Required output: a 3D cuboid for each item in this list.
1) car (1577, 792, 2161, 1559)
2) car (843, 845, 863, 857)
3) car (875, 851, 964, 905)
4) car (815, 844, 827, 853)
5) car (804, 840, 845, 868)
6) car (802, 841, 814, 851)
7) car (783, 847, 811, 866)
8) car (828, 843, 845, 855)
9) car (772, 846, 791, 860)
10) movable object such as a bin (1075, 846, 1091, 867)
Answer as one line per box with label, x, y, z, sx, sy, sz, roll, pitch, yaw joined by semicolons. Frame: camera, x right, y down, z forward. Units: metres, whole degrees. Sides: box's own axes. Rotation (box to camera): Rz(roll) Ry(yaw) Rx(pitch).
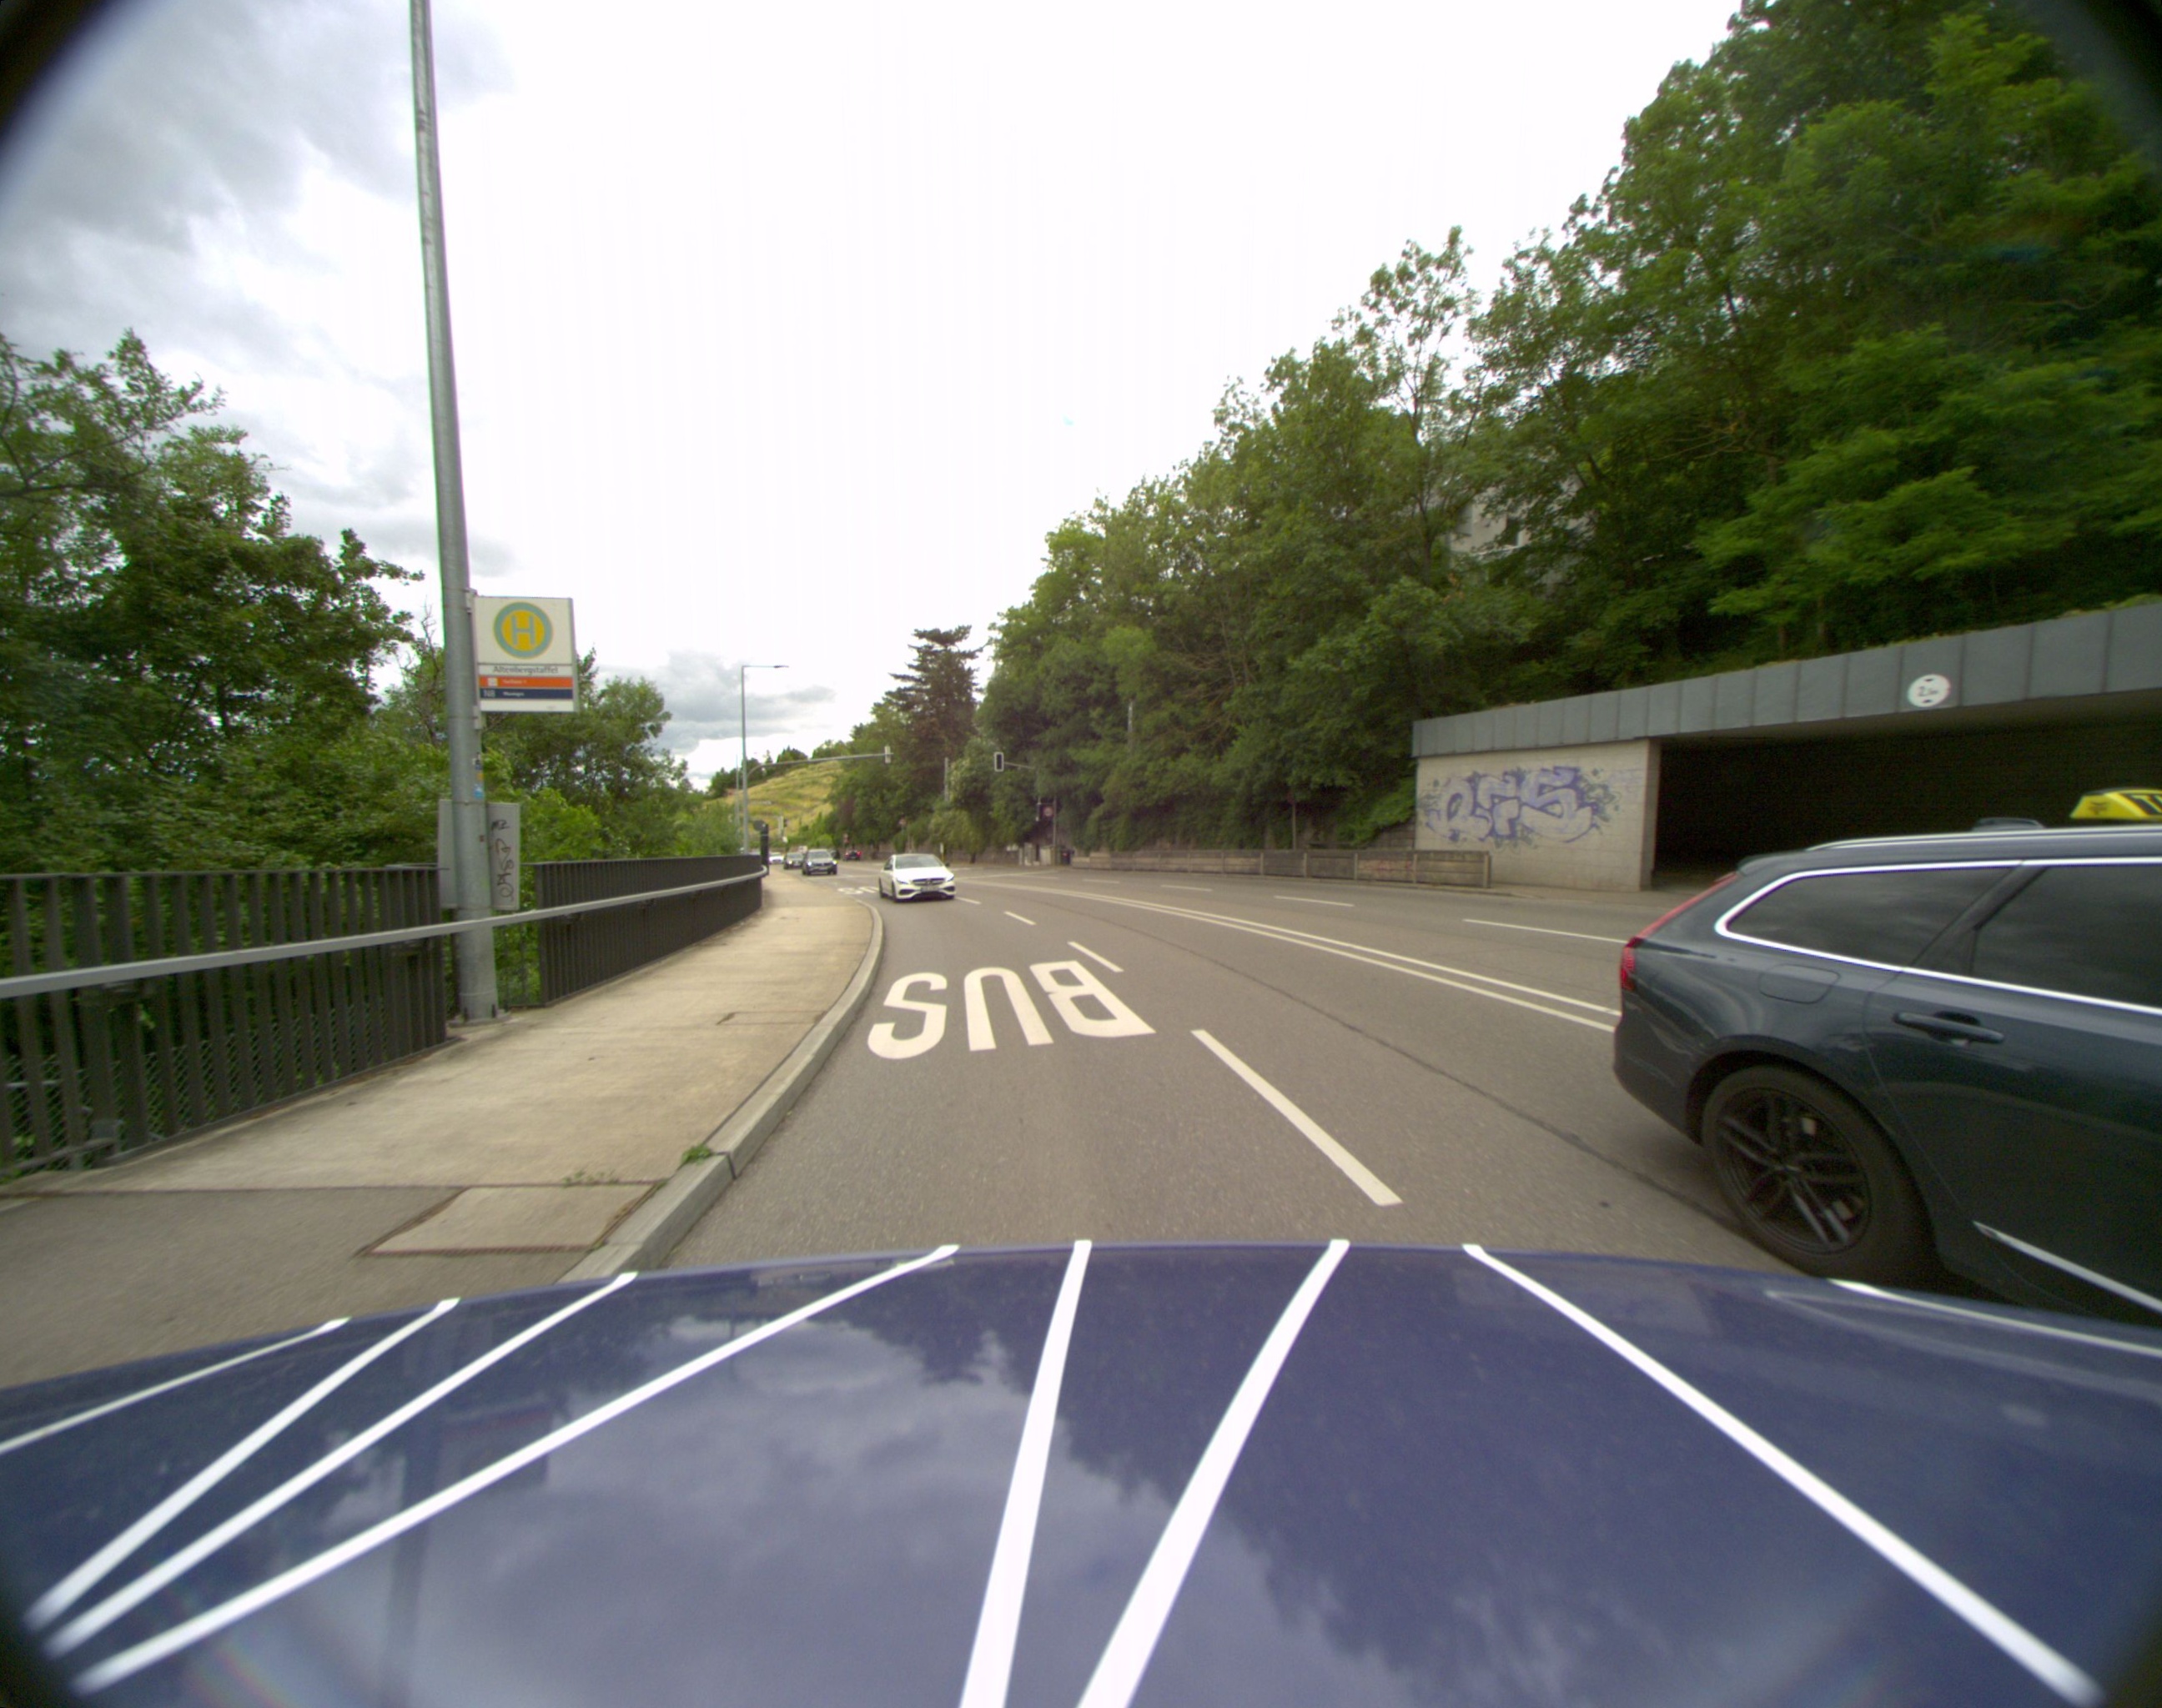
car;3.239;0.674;0.807;1.940;1.568;5.024;-4;2;-2
car;-28.500;-0.388;94.771;1.820;1.426;4.239;-5;3;-23
car;-5.144;0.705;23.747;1.906;1.419;4.257;-4;1;-22
car;-46.962;-1.037;137.105;1.683;1.434;4.225;-5;2;-21
car;-16.483;-0.015;48.674;2.002;1.580;3.991;-5;3;-24
car;-59.895;-1.726;166.848;1.930;1.993;5.344;-3;2;-24
car;-24.888;0.236;66.534;2.002;1.574;3.992;-2;1;-24
car;-35.169;-0.721;109.307;1.789;1.474;4.203;-5;2;-24
car;-37.636;-0.124;95.463;2.002;1.574;3.992;-2;1;-24
movable object such as a bin;0.093;0.118;41.109;0.644;1.061;0.555;-5;3;-26
